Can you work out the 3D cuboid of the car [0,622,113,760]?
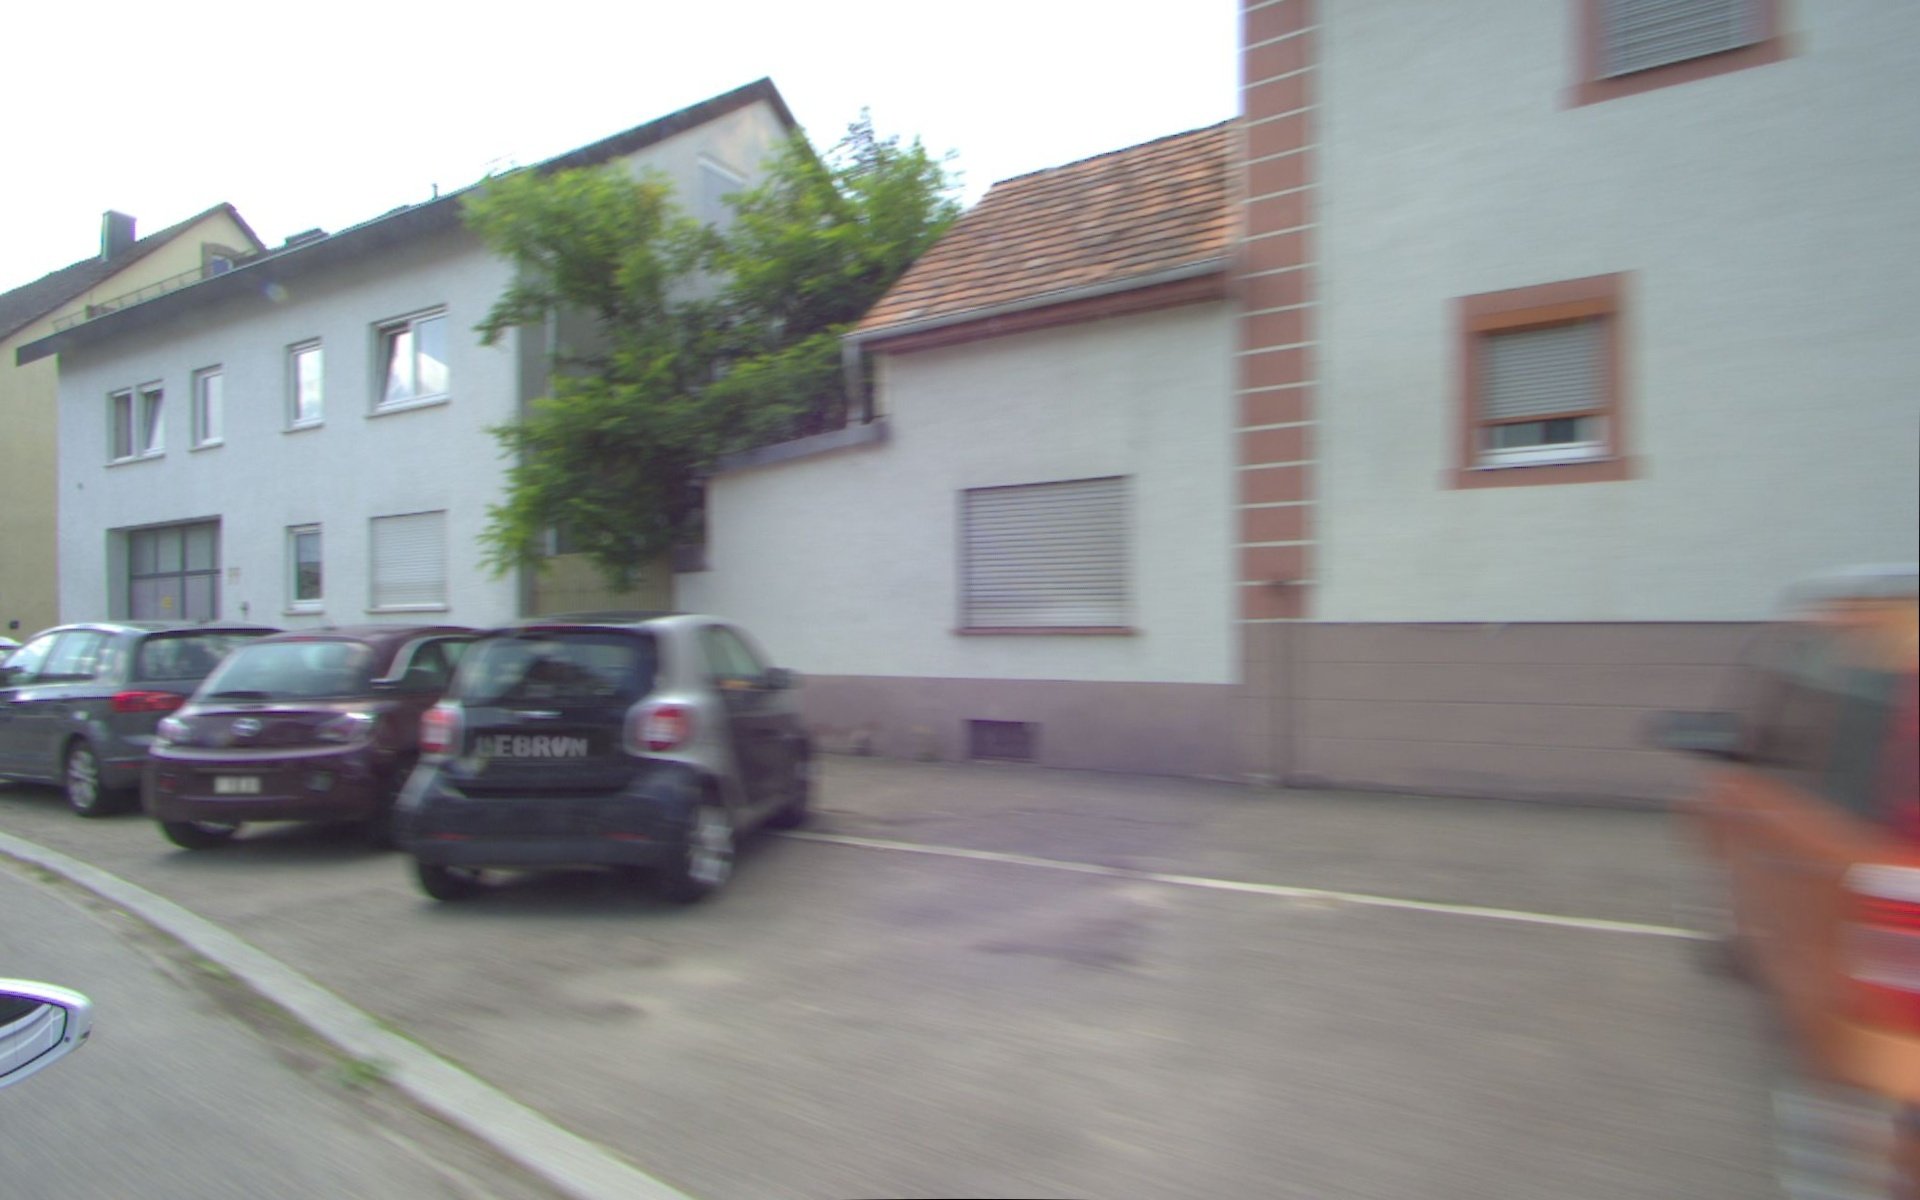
[{"bbox_3d":[-12.593,1.057,12.202,4.303,1.537,1.993,-1,-1,27],"label":"car"}]

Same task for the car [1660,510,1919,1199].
[{"bbox_3d":[3.112,0.687,2.681,1.701,1.597,3.374,-1,-2,30],"label":"car"}]

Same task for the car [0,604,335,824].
[{"bbox_3d":[-7.805,0.904,9.271,4.208,1.645,1.660,-1,-1,30],"label":"car"}]

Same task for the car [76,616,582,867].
[{"bbox_3d":[-4.481,0.907,7.745,1.791,1.524,3.238,0,-1,2],"label":"car"}]

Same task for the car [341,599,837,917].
[{"bbox_3d":[-2.030,0.804,6.316,1.842,1.524,2.788,0,-1,8],"label":"car"}]
